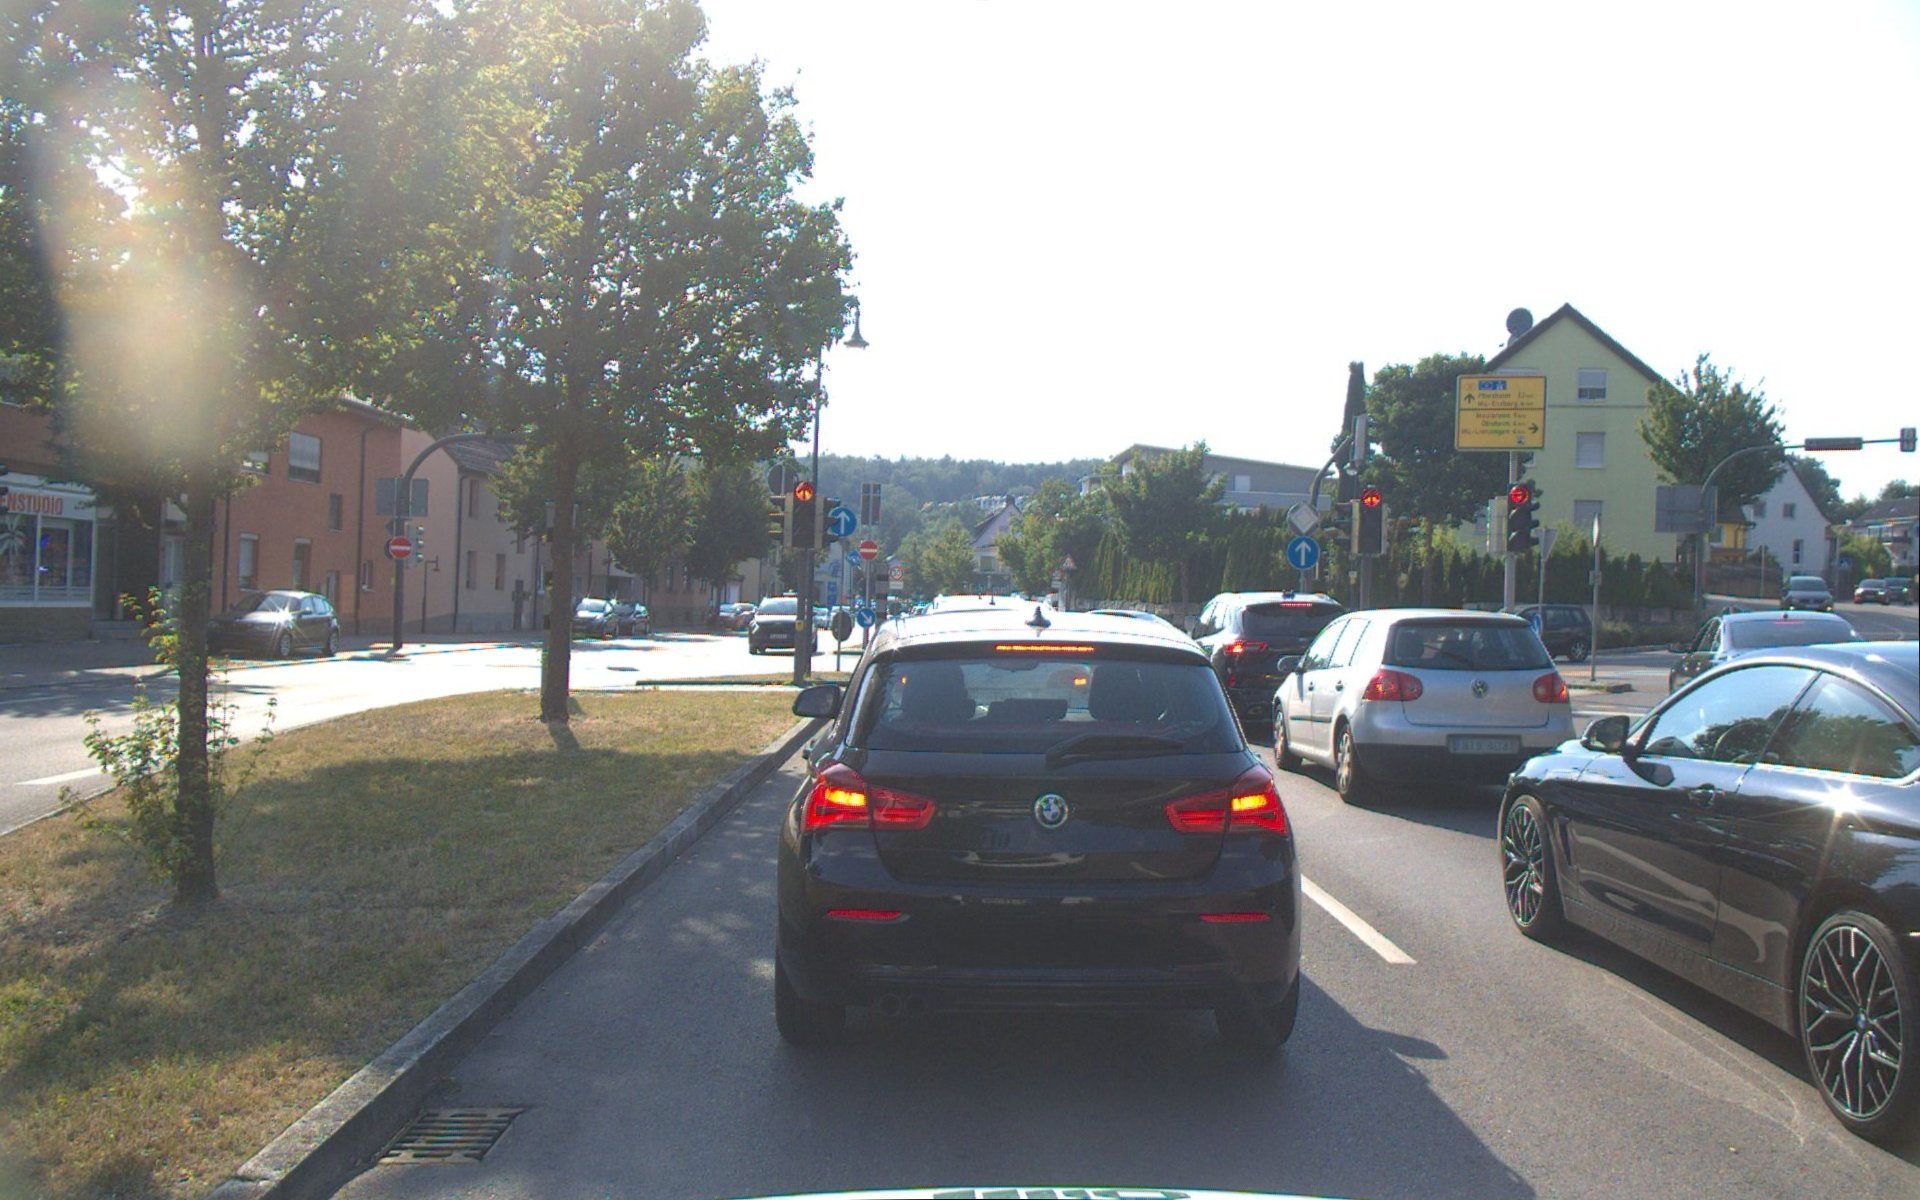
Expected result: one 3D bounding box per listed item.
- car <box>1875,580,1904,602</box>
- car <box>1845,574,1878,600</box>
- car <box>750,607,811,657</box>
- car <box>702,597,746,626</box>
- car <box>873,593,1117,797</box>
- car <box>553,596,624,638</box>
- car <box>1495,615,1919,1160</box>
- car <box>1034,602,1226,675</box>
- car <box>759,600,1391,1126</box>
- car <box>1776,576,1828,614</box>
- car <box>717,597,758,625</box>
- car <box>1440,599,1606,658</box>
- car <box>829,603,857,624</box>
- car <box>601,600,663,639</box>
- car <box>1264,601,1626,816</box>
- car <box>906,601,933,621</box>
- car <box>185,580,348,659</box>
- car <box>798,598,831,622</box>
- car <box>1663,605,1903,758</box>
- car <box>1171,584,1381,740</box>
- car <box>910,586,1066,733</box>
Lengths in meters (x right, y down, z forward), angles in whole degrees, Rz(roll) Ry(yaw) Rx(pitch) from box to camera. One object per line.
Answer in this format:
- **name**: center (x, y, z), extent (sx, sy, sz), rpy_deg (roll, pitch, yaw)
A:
- **car**: center (71.414, -0.658, 127.081), extent (1.744, 1.607, 3.990), rpy_deg (1, 0, 32)
- **car**: center (58.927, -0.845, 108.053), extent (1.743, 1.607, 3.991), rpy_deg (1, 0, 31)
- **car**: center (-5.337, 0.940, 49.516), extent (1.659, 1.377, 3.996), rpy_deg (1, 0, -5)
- **car**: center (-13.813, 0.677, 97.078), extent (1.884, 1.624, 4.000), rpy_deg (1, 0, 1)
- **car**: center (0.285, 0.696, 14.305), extent (1.779, 1.476, 4.242), rpy_deg (1, 0, 1)
- **car**: center (-14.982, 0.657, 66.965), extent (1.884, 1.624, 4.000), rpy_deg (1, 0, 1)
- **car**: center (3.472, 0.795, 5.872), extent (1.779, 1.413, 4.347), rpy_deg (1, 0, 1)
- **car**: center (3.792, 0.833, 37.076), extent (3.917, 1.484, 1.767), rpy_deg (1, 0, 34)
- **car**: center (0.351, 0.739, 6.816), extent (1.754, 1.439, 4.347), rpy_deg (1, 0, 1)
- **car**: center (32.954, -0.231, 64.803), extent (1.677, 1.265, 3.999), rpy_deg (1, 4, 25)
- **car**: center (-13.767, 0.667, 102.584), extent (1.884, 1.624, 4.000), rpy_deg (1, 0, 1)
- **car**: center (15.307, 0.773, 45.029), extent (3.990, 1.533, 1.784), rpy_deg (1, 0, -16)
- **car**: center (-9.176, 1.044, 129.891), extent (1.884, 1.624, 4.000), rpy_deg (1, 0, 1)
- **car**: center (-14.468, 0.851, 73.124), extent (1.884, 1.624, 4.000), rpy_deg (1, 0, 1)
- **car**: center (3.797, 0.763, 13.764), extent (1.779, 1.471, 4.347), rpy_deg (1, 0, 1)
- **car**: center (-3.342, 0.899, 135.560), extent (1.826, 1.511, 4.652), rpy_deg (1, 0, -6)
- **car**: center (-15.552, 0.416, 37.326), extent (1.805, 1.579, 4.001), rpy_deg (3, 0, 2)
- **car**: center (-10.111, 0.706, 115.213), extent (1.884, 1.624, 4.000), rpy_deg (1, 0, 1)
- **car**: center (9.031, 0.802, 18.505), extent (1.645, 1.460, 4.592), rpy_deg (1, 0, 17)
- **car**: center (3.745, 0.676, 20.328), extent (1.779, 1.695, 4.347), rpy_deg (1, 0, 1)
- **car**: center (0.348, 0.681, 21.156), extent (1.779, 1.670, 4.242), rpy_deg (1, 0, 1)
